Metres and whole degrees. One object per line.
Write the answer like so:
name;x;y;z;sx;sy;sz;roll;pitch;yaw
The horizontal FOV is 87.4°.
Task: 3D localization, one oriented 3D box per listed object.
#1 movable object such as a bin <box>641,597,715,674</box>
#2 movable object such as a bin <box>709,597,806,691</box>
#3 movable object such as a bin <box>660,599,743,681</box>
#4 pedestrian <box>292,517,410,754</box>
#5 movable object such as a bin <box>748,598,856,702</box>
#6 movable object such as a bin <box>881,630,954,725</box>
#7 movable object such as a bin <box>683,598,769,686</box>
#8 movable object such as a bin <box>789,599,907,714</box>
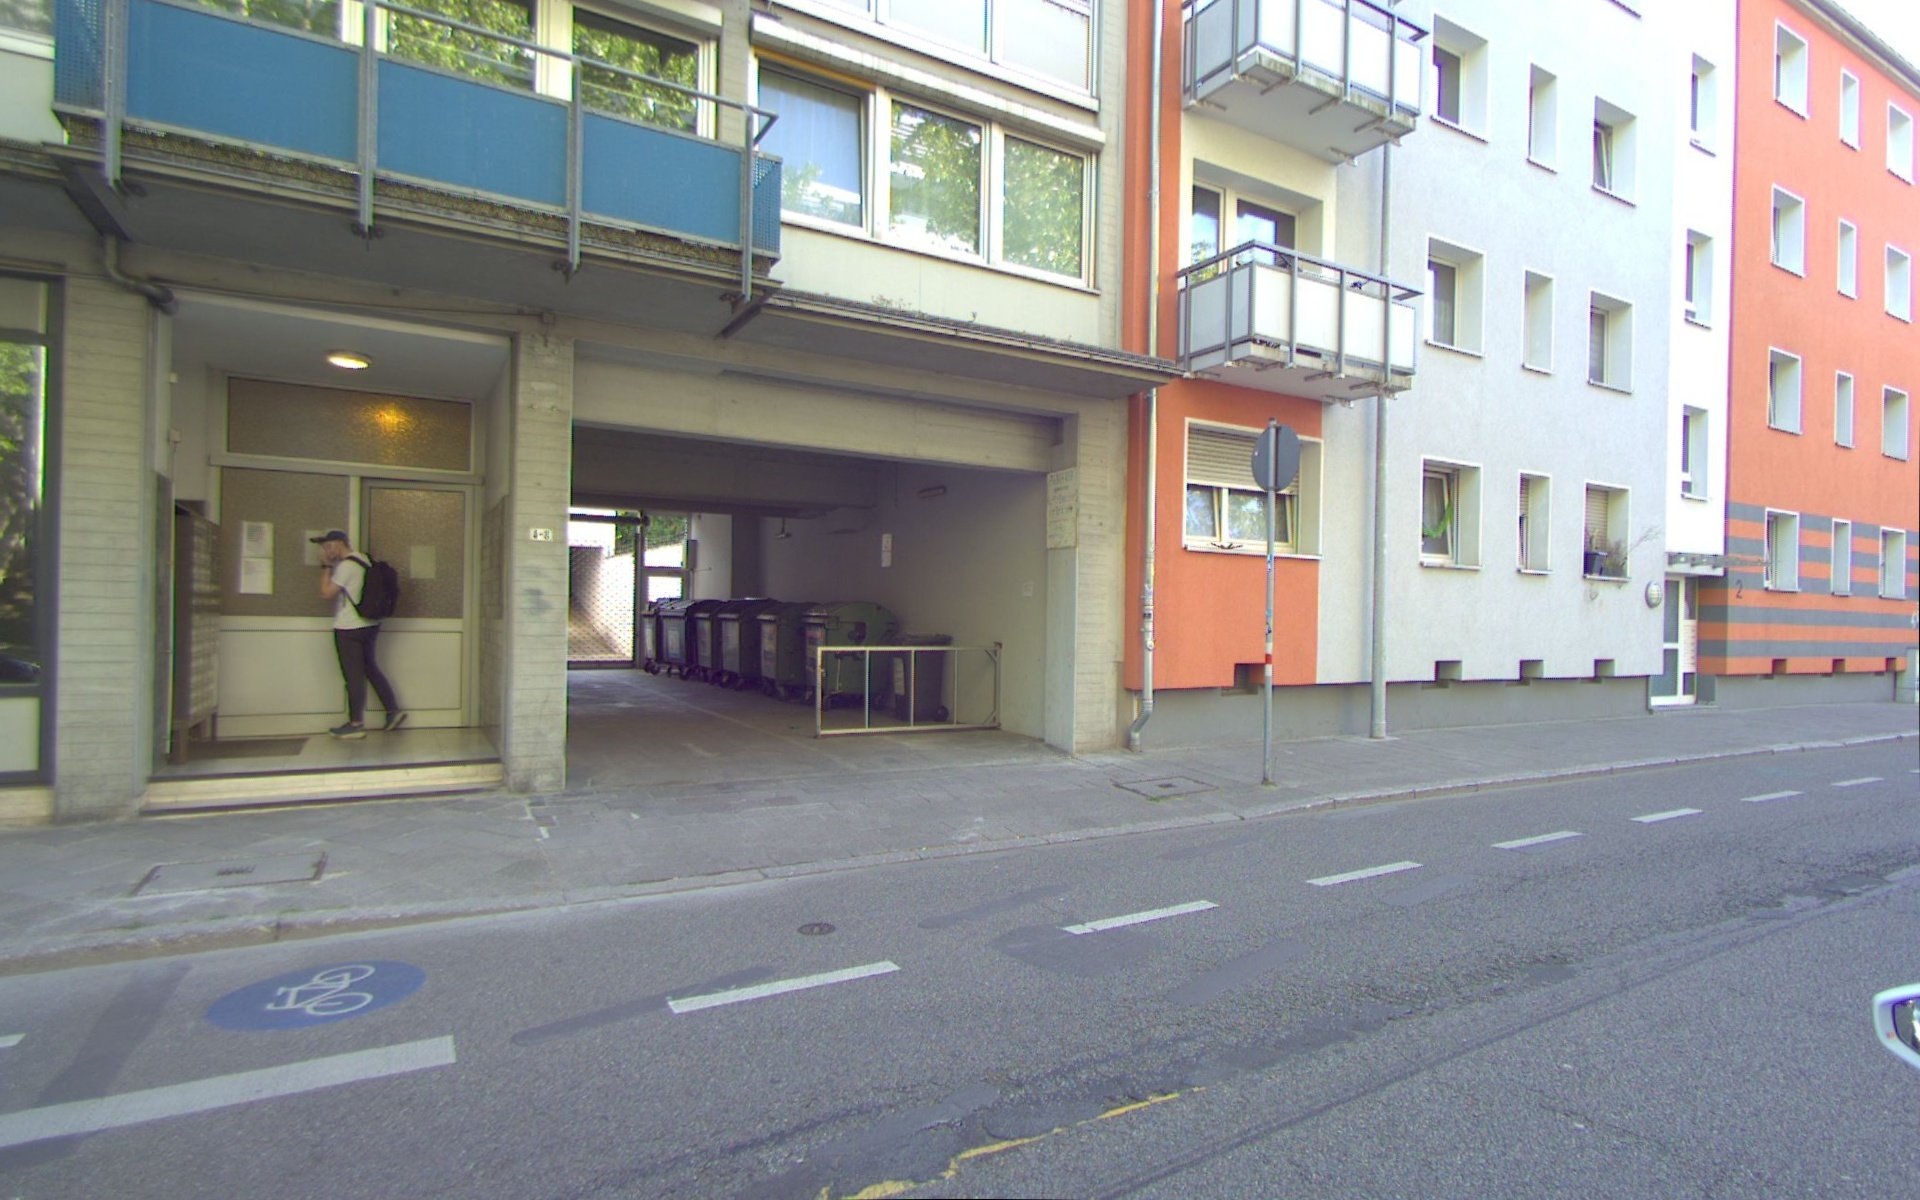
movable object such as a bin;-5.610;0.693;19.977;1.186;1.467;1.027;2;0;-30
movable object such as a bin;-3.364;0.706;16.615;1.186;1.467;1.319;2;0;-30
movable object such as a bin;-4.834;0.729;18.748;1.186;1.467;1.222;2;0;-30
pedestrian;-5.178;0.291;8.535;0.779;1.904;0.576;2;0;-36
movable object such as a bin;-2.397;0.727;15.131;1.186;1.467;1.319;2;0;-30
movable object such as a bin;-0.529;0.946;12.406;0.745;1.116;0.463;2;0;-30
movable object such as a bin;-4.135;0.727;17.706;1.186;1.467;1.114;2;0;-30
movable object such as a bin;-1.557;0.746;13.797;1.159;1.467;1.319;2;0;-30
